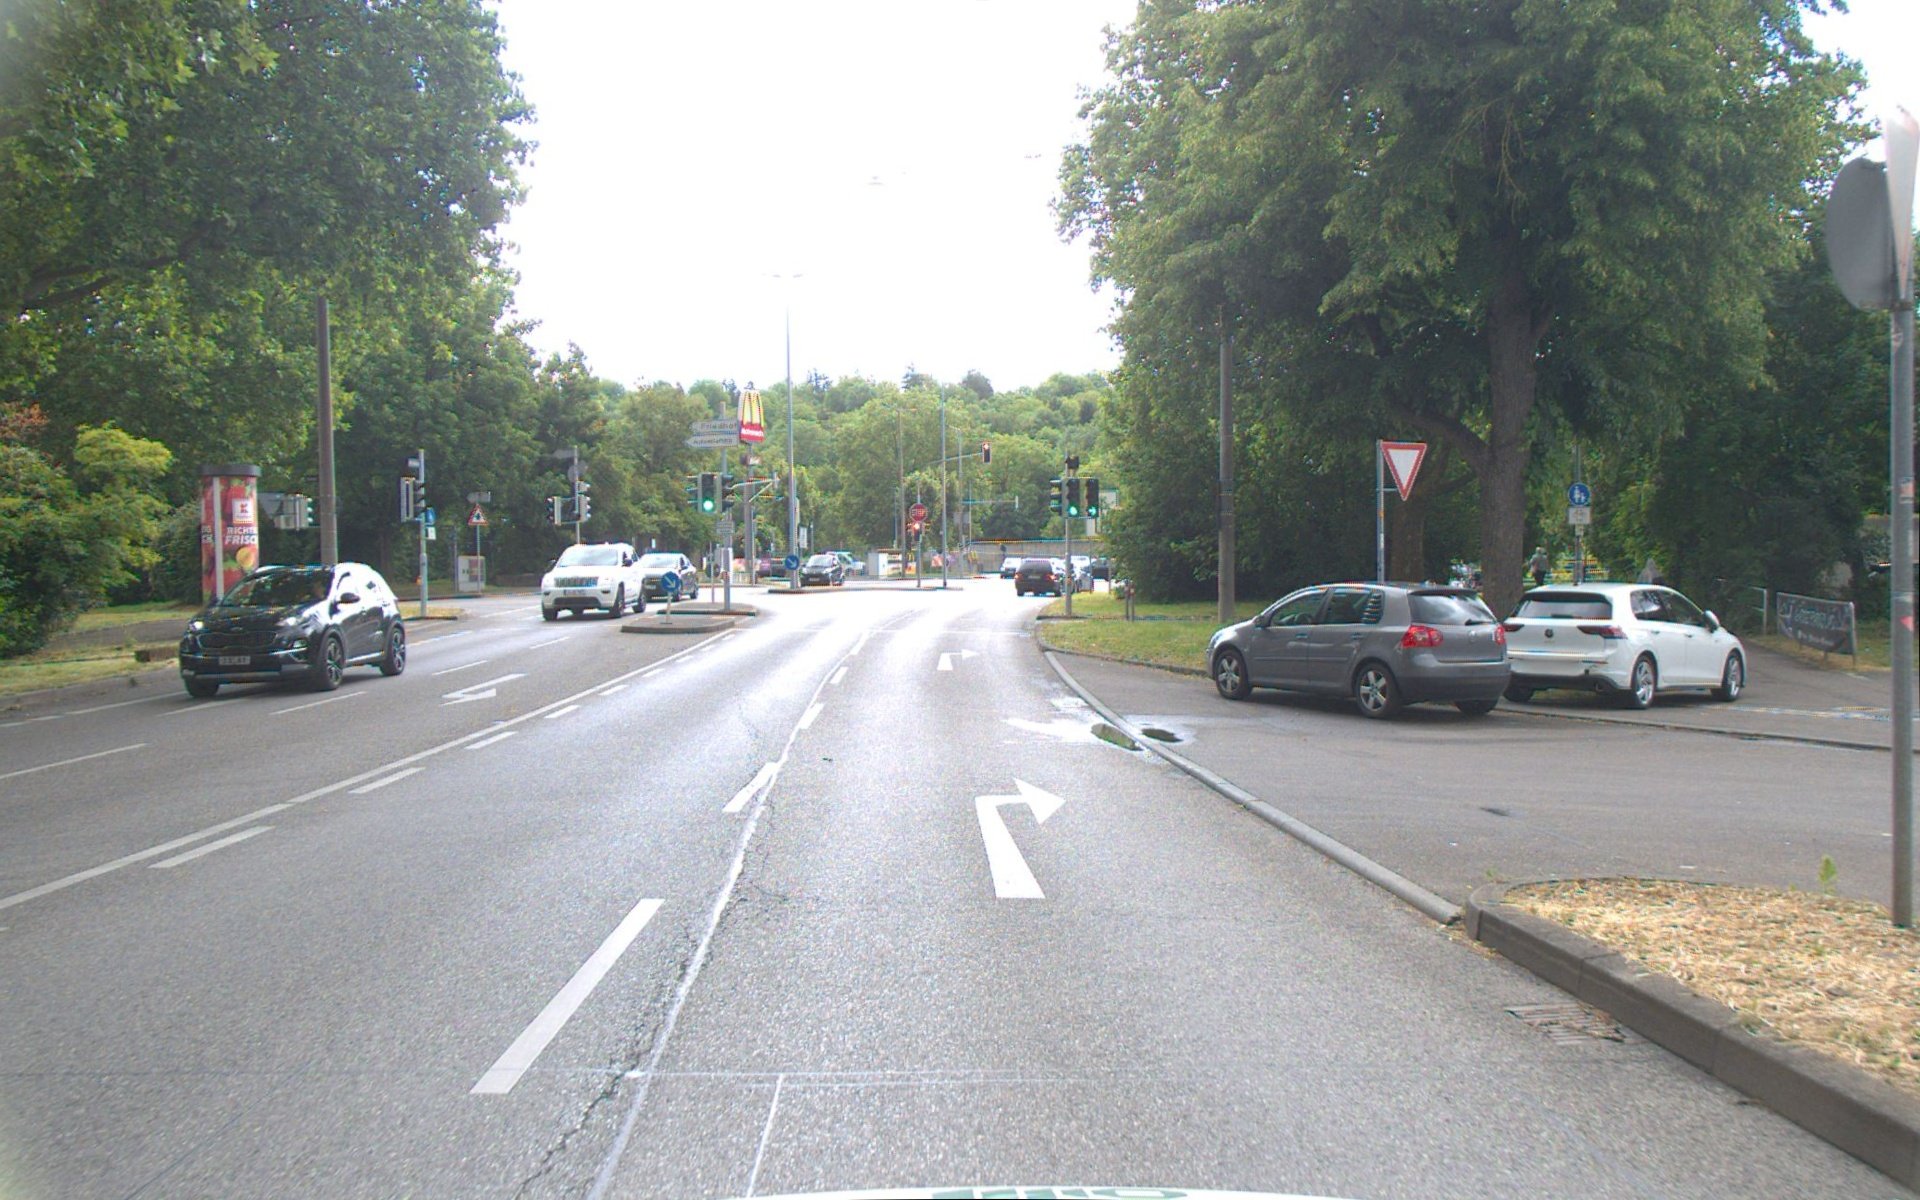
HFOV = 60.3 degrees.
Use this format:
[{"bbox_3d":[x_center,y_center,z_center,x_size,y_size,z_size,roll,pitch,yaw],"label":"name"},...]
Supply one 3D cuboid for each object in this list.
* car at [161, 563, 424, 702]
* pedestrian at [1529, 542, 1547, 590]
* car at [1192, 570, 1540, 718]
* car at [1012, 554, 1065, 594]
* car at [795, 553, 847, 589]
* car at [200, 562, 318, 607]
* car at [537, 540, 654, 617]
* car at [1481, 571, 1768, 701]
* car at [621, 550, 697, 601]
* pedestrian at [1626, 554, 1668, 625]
[{"bbox_3d":[-8.964,0.350,22.646,1.760,1.614,4.415,-3,1,-1],"label":"car"},{"bbox_3d":[19.268,-1.134,55.118,0.499,1.558,0.779,0,1,14],"label":"pedestrian"},{"bbox_3d":[4.662,0.422,19.591,1.709,1.453,4.073,-1,3,-29],"label":"car"},{"bbox_3d":[3.173,-1.052,66.267,1.784,1.535,4.578,-1,1,6],"label":"car"},{"bbox_3d":[-6.429,-1.366,76.834,1.535,1.553,3.193,-1,2,12],"label":"car"},{"bbox_3d":[-24.514,-0.534,57.833,3.768,1.505,1.824,0,2,28],"label":"car"},{"bbox_3d":[-9.075,-0.583,41.544,1.872,1.794,4.752,-1,2,-1],"label":"car"},{"bbox_3d":[8.344,0.366,20.590,4.228,1.404,1.737,-2,2,-43],"label":"car"},{"bbox_3d":[-9.392,-0.793,51.820,1.536,1.406,3.951,-2,3,1],"label":"car"},{"bbox_3d":[15.424,-0.245,37.138,0.669,1.578,0.743,-1,1,4],"label":"pedestrian"}]
